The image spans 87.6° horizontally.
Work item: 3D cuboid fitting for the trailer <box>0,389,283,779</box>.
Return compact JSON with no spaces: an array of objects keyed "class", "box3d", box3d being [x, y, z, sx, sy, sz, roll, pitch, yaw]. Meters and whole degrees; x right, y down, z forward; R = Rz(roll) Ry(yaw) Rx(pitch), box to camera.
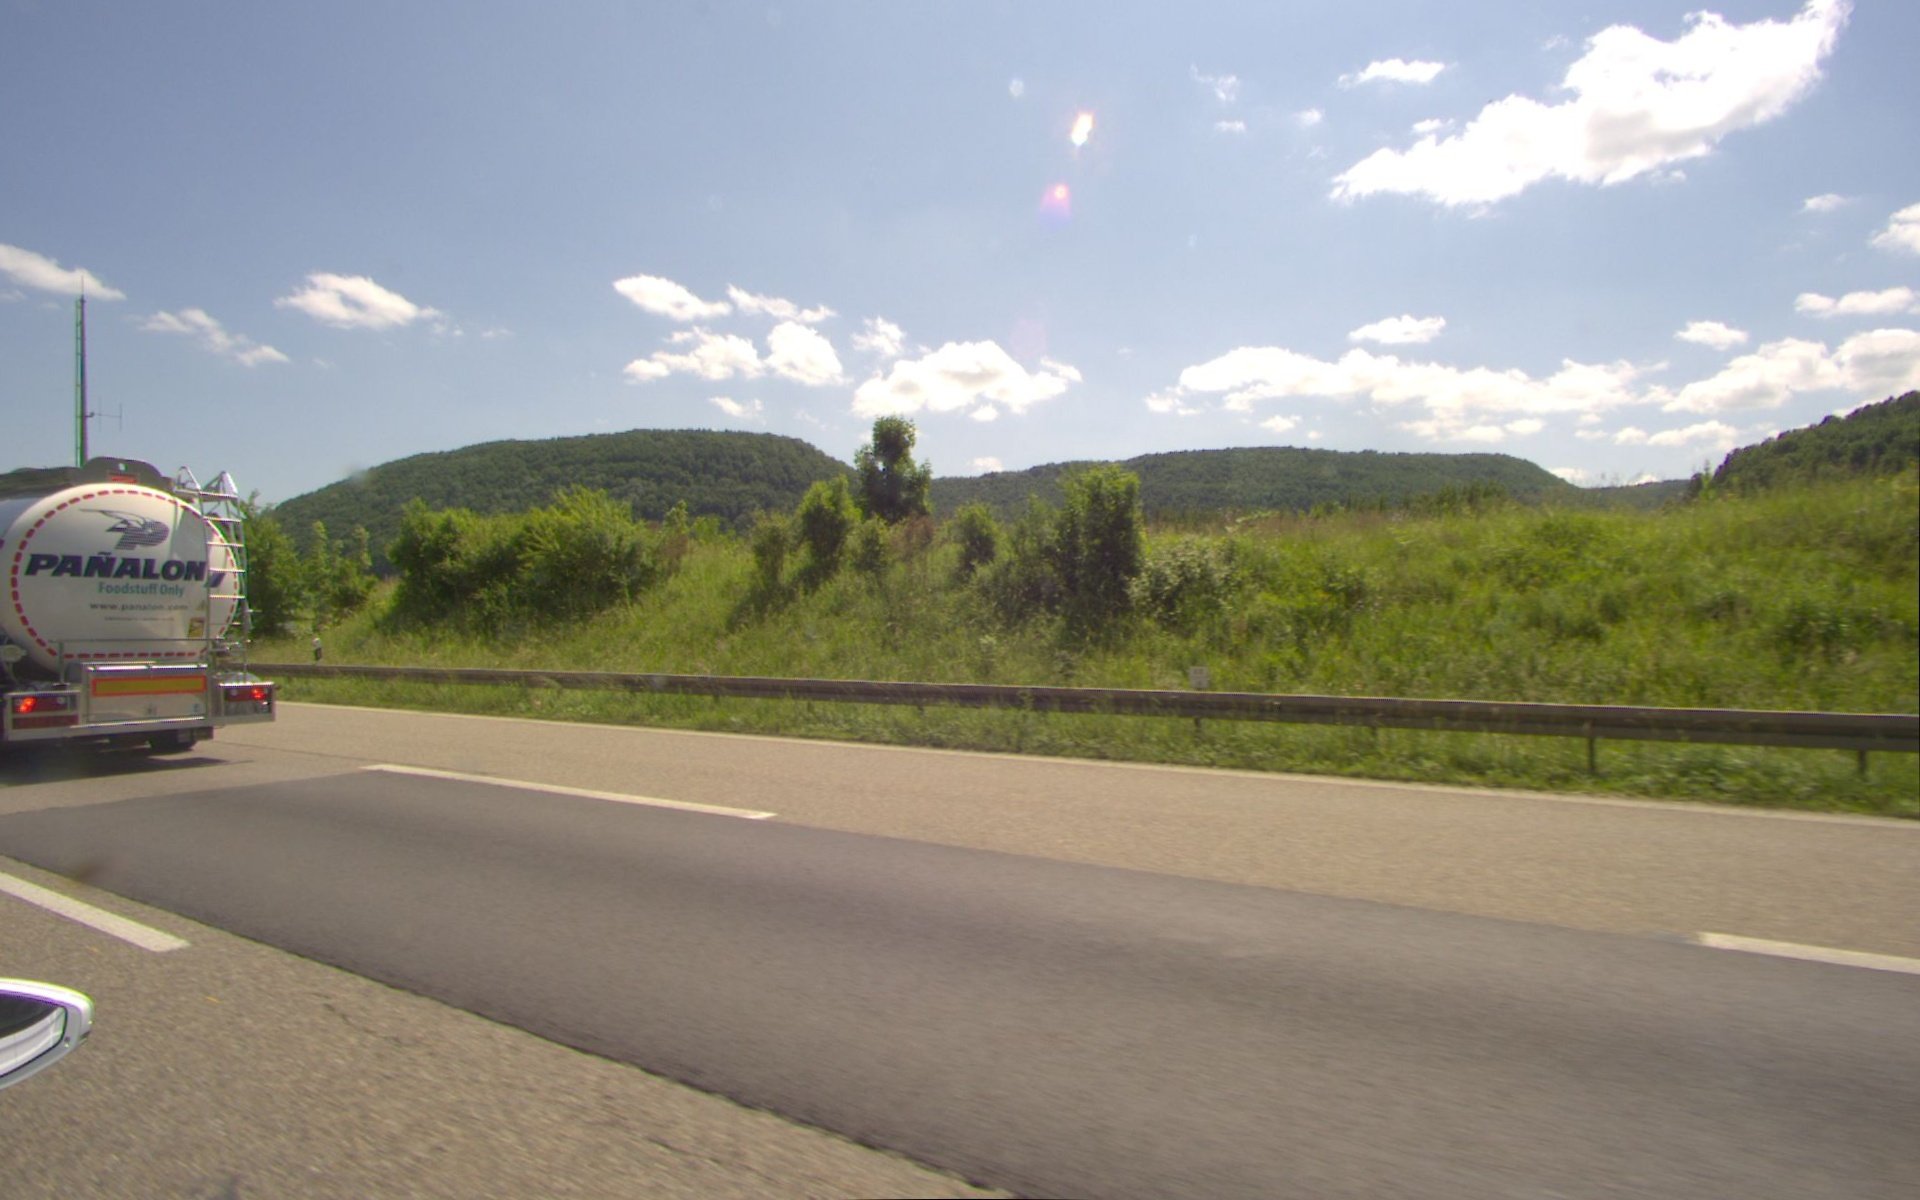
[{"class":"trailer","box3d":[-13.642,-0.025,13.835,11.719,3.783,2.534,-1,-1,32]}]
